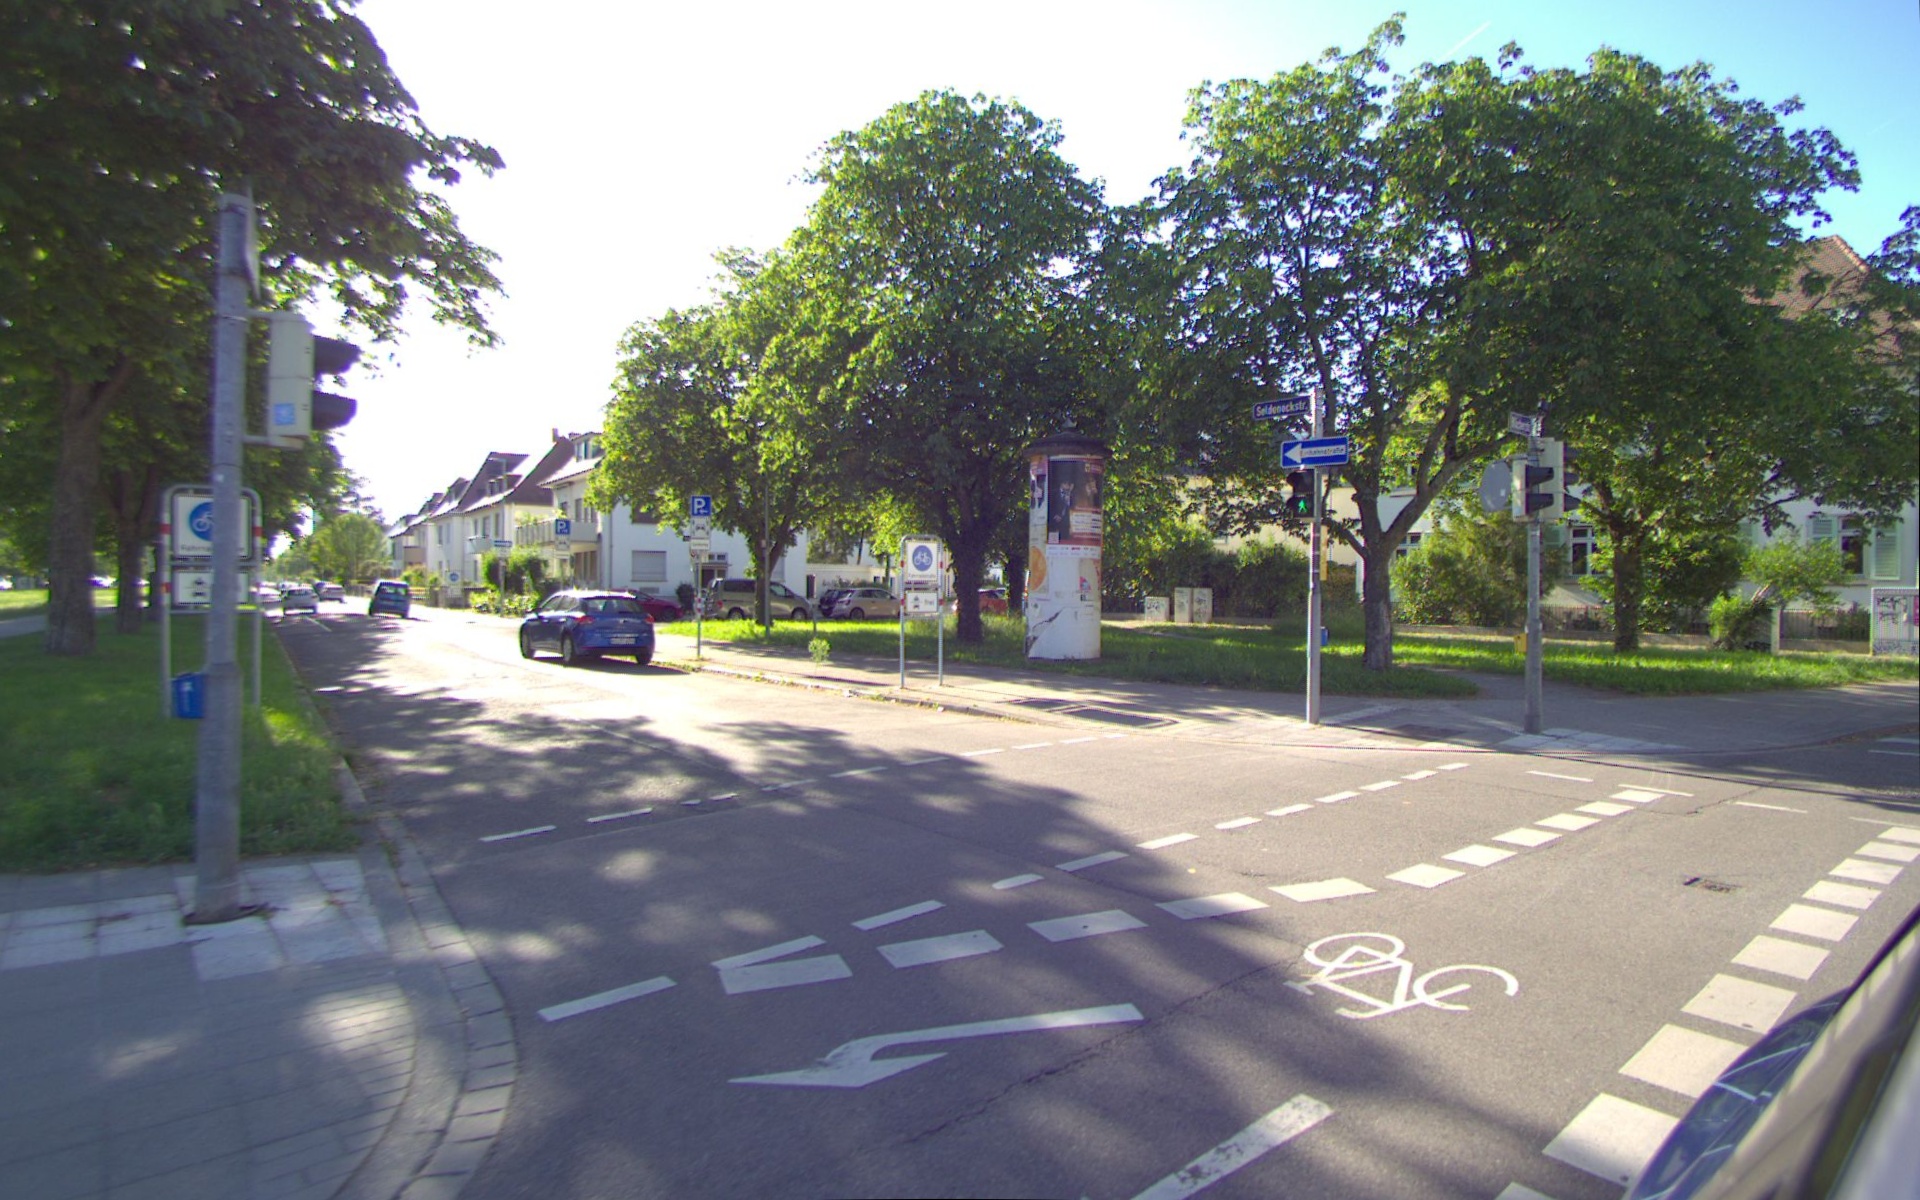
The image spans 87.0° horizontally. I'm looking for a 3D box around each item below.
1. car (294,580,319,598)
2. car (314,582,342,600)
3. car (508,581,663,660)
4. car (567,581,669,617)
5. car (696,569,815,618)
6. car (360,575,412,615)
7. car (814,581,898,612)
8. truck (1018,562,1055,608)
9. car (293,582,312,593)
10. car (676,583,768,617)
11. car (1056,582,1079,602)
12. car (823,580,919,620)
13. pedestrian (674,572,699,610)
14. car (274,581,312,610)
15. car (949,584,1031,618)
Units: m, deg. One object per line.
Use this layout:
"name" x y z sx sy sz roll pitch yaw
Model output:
"car" -62.190 -1.060 96.312 1.791 1.624 4.000 0 1 -36
"car" -54.052 -0.784 86.488 1.791 1.451 4.000 0 1 -36
"car" -7.817 0.358 20.944 1.784 1.451 3.995 0 1 -40
"car" -14.775 -0.051 43.814 3.824 1.489 1.759 0 1 -37
"car" -8.176 -0.270 40.594 4.258 1.859 1.924 0 1 -34
"car" -28.437 -0.226 50.068 1.783 1.848 3.998 -2 0 -36
"car" -5.206 -0.191 50.934 3.821 1.489 1.760 0 1 -34
"truck" 4.495 -0.922 59.984 1.963 2.608 4.978 0 1 2
"car" -83.308 -1.586 128.233 1.791 1.451 4.000 0 1 -36
"car" -11.042 -0.025 47.016 3.824 1.489 1.759 0 1 -37
"car" 8.621 -0.649 81.167 1.729 1.489 3.889 1 1 7
"car" -3.815 -0.013 43.530 3.638 1.668 1.926 0 1 -29
"pedestrian" -13.371 -0.434 49.434 0.883 1.792 1.025 0 -1 -35
"car" -36.065 -0.240 54.736 1.641 1.451 3.895 -3 0 -33
"car" 1.466 0.068 47.598 1.600 1.554 4.220 1 0 40
